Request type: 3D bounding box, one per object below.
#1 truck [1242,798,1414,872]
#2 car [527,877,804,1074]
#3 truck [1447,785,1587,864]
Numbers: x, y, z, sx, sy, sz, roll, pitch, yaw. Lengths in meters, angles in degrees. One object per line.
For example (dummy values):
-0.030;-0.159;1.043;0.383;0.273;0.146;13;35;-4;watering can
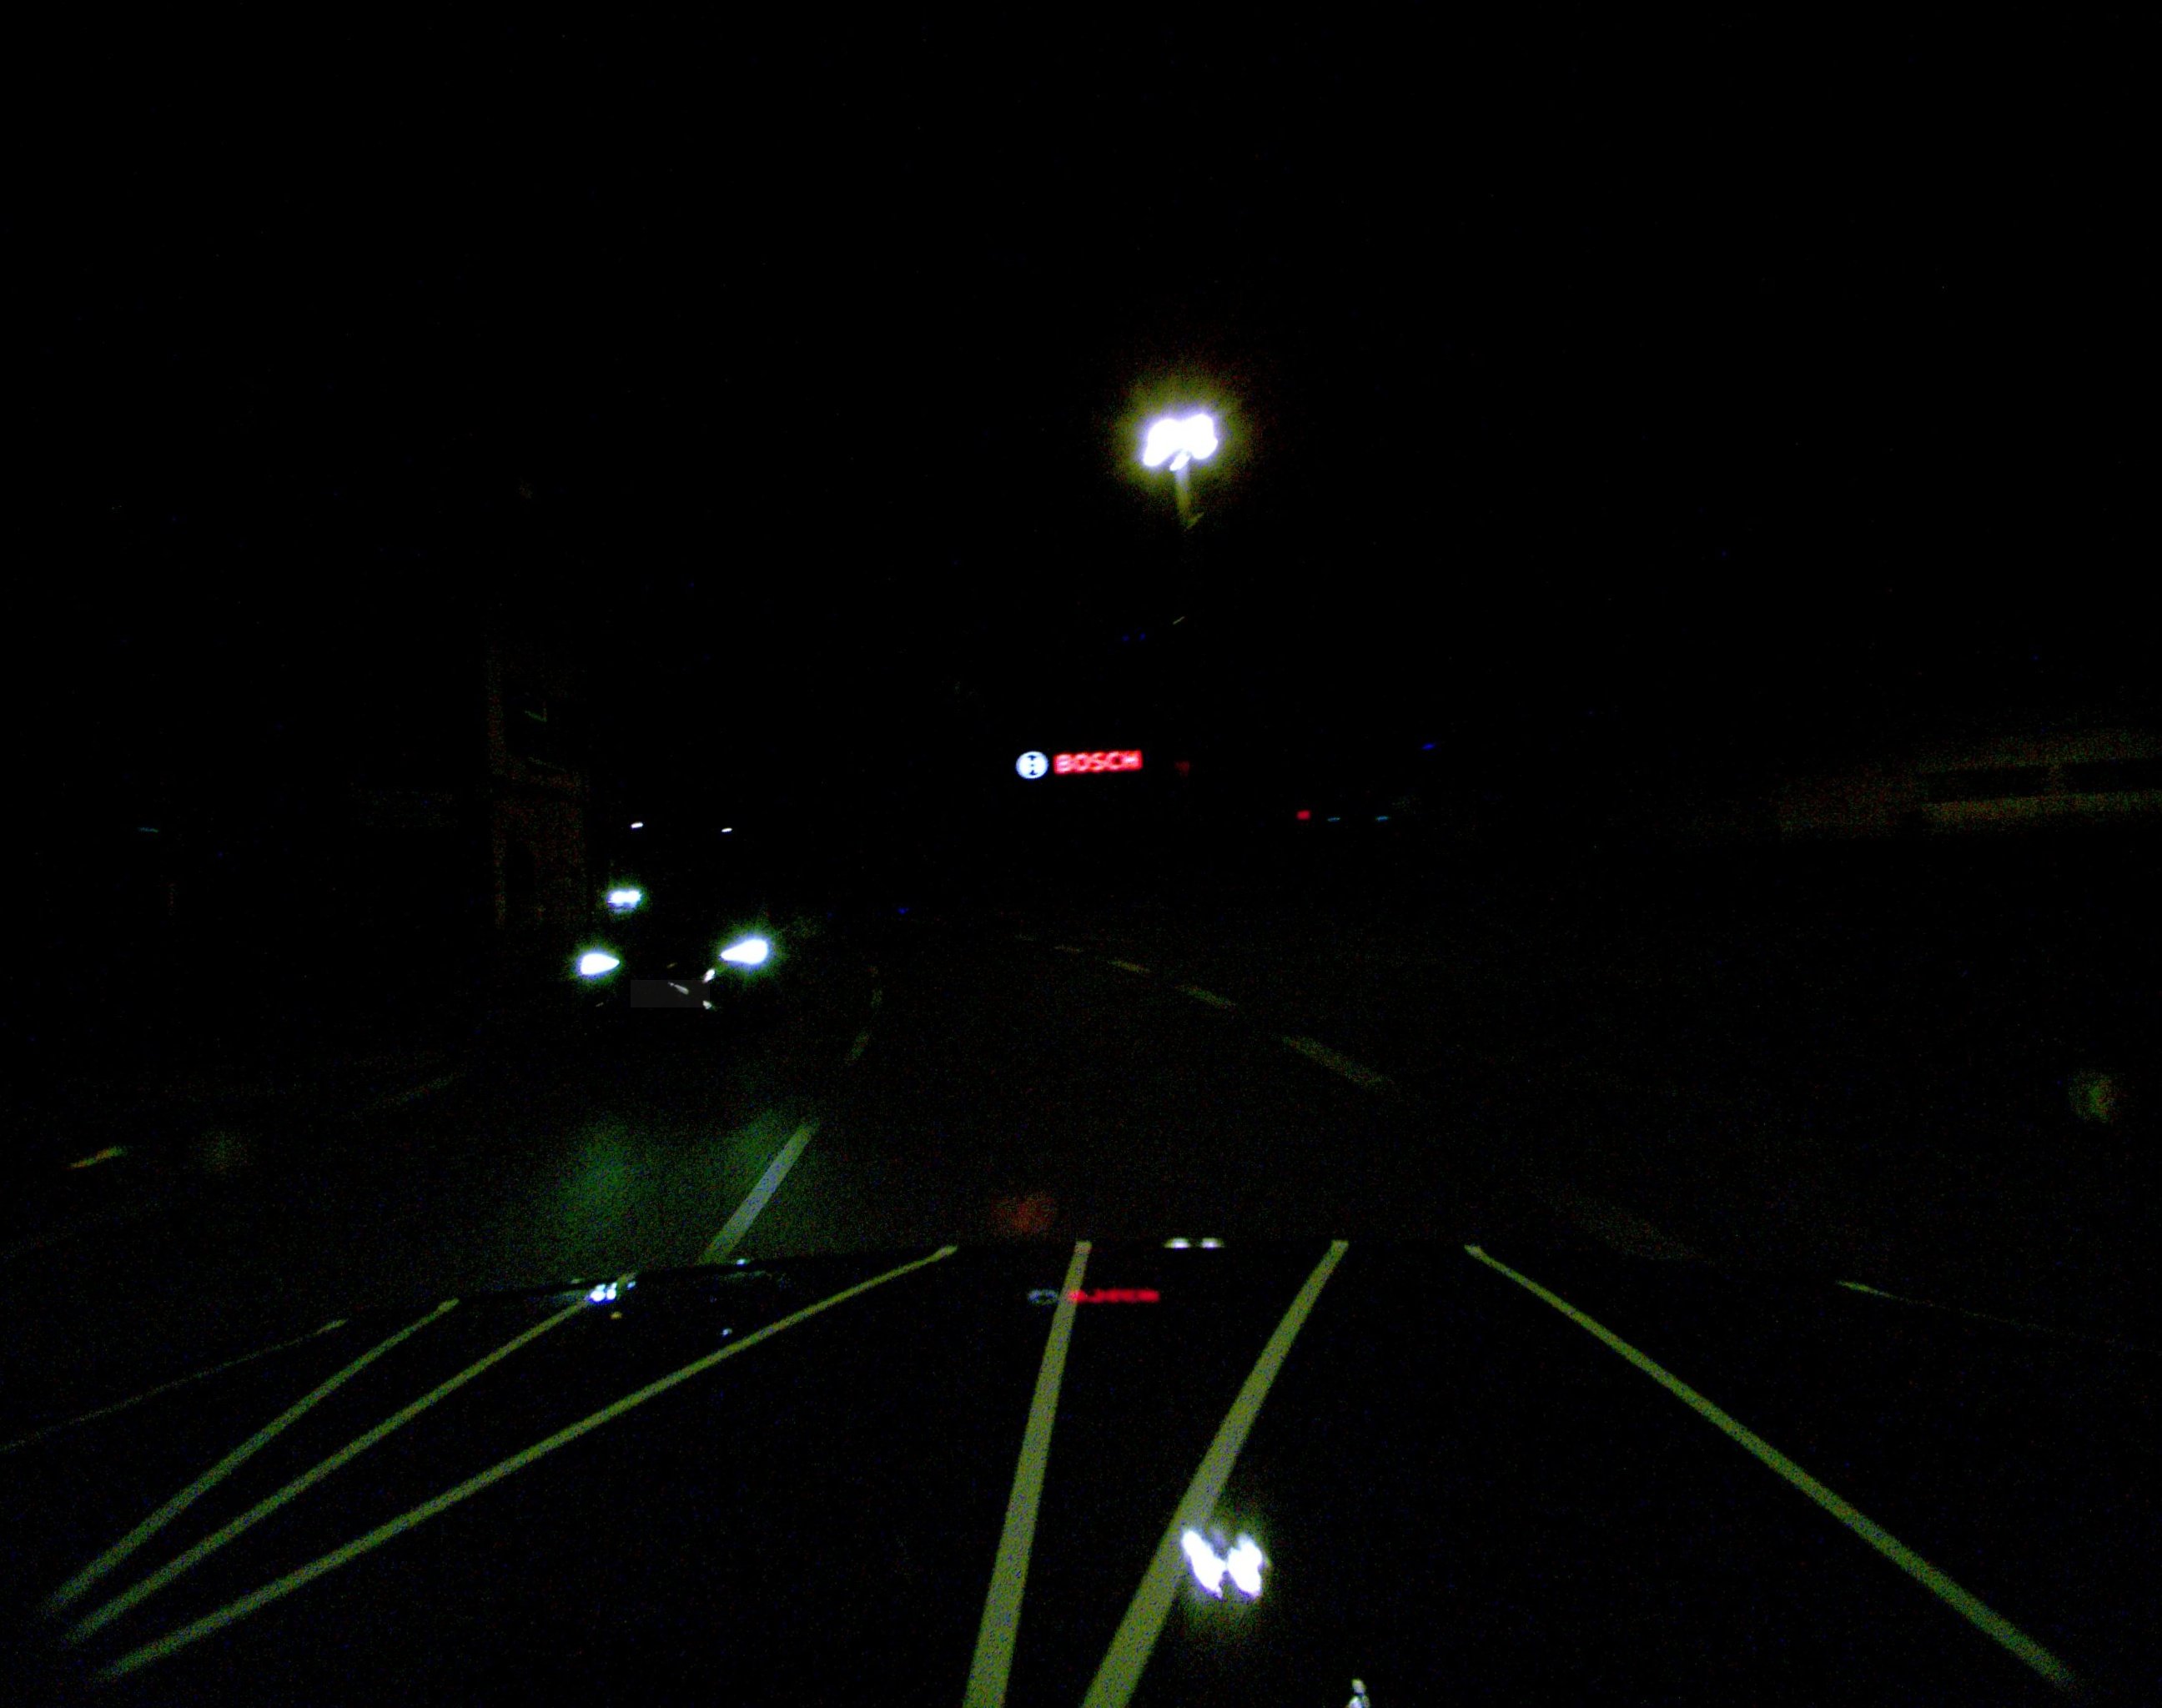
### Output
14.529;-1.025;45.179;9.336;3.700;2.003;-4;1;28;truck
-4.512;1.152;8.983;2.001;1.606;3.995;-3;0;-17;car
23.423;-1.529;41.182;6.193;3.672;2.405;-4;0;25;truck
